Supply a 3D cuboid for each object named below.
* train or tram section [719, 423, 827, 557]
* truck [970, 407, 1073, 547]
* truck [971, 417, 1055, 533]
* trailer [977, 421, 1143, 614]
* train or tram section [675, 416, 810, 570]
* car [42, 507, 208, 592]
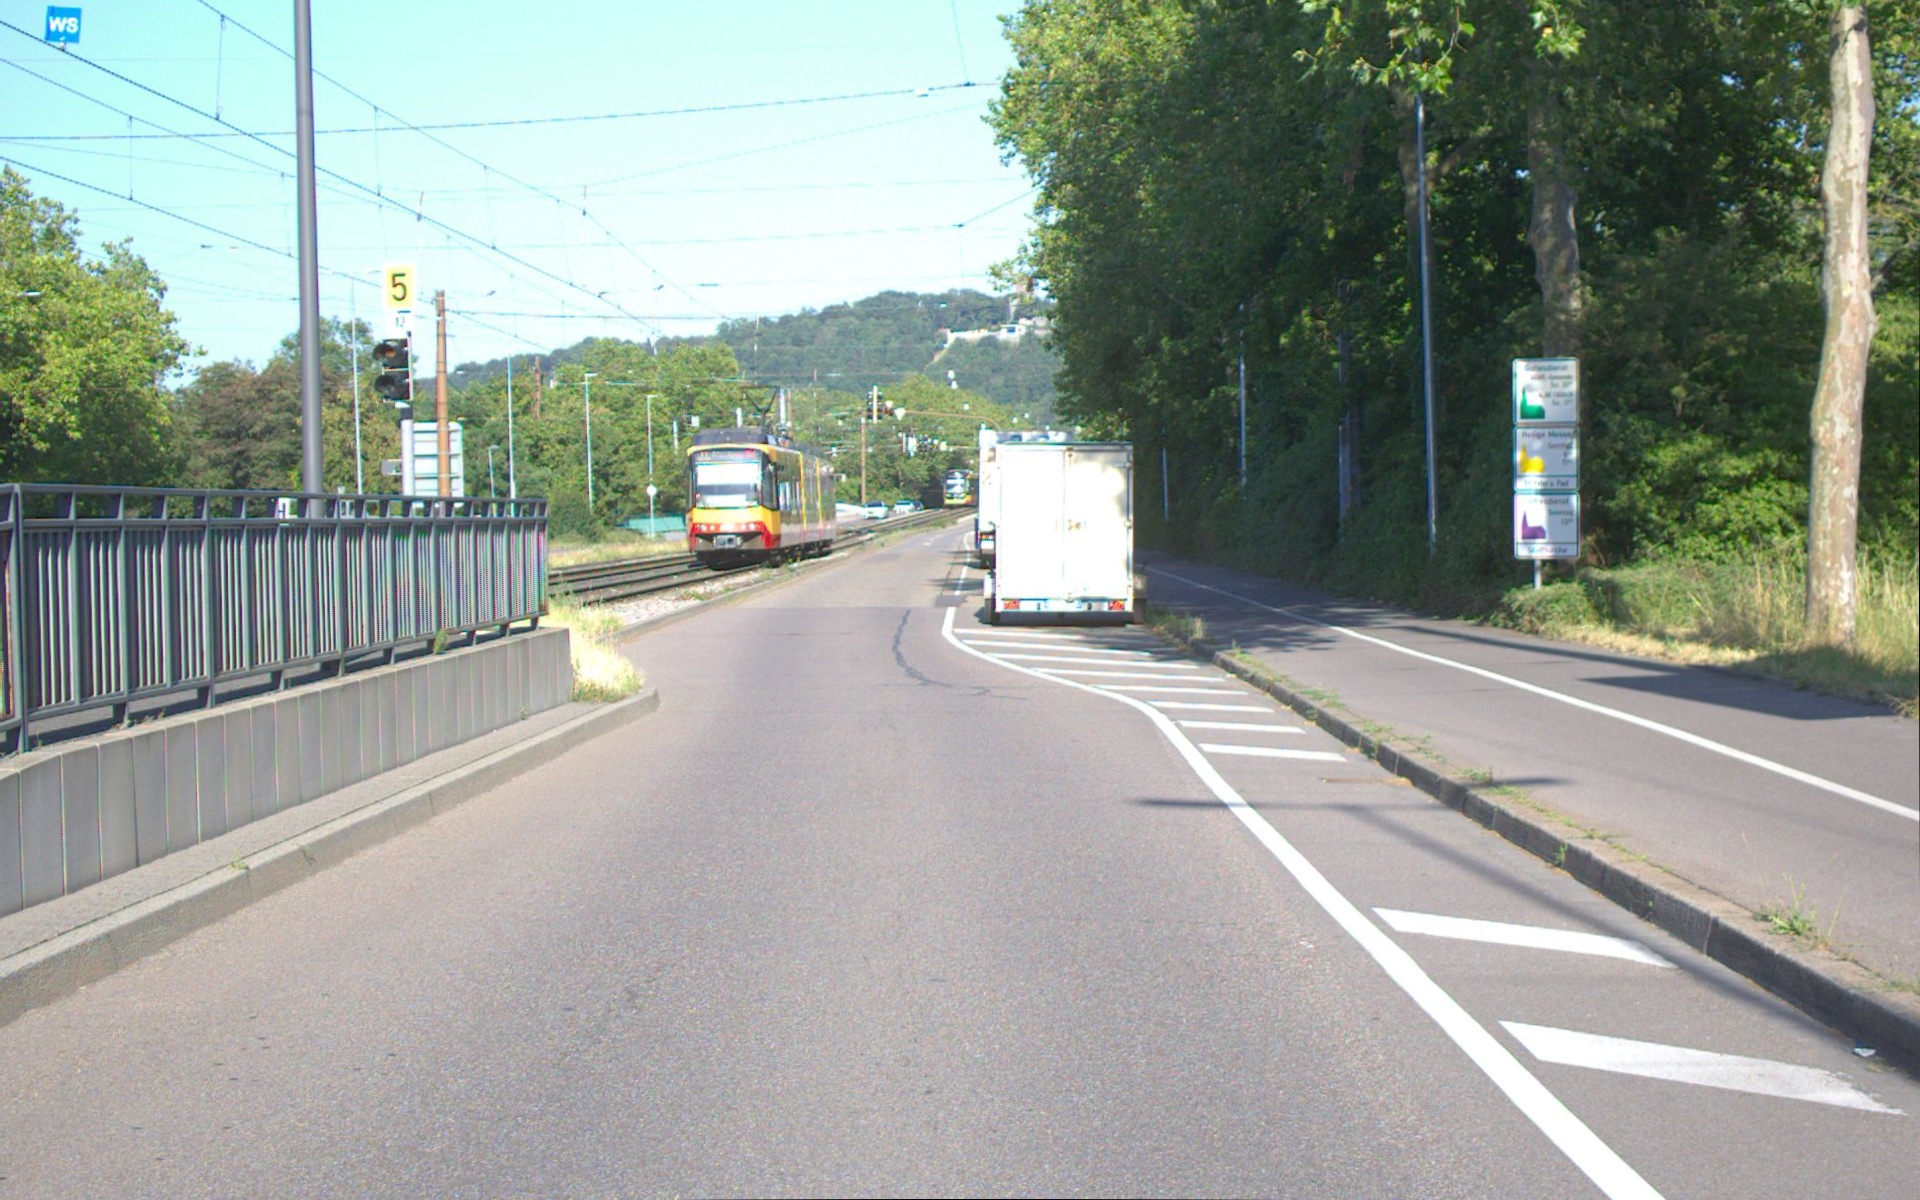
[{"bbox_3d":[-5.987,-3.565,111.489,2.694,4.074,9.911,-2,2,1],"label":"train or tram section"},{"bbox_3d":[1.698,-3.510,98.783,2.742,3.770,10.090,1,2,0],"label":"truck"},{"bbox_3d":[1.766,-4.272,118.032,2.717,3.770,9.762,1,2,0],"label":"truck"},{"bbox_3d":[1.555,-1.236,50.860,2.251,2.685,5.947,0,2,4],"label":"trailer"},{"bbox_3d":[-6.187,-3.110,99.764,2.721,4.077,13.616,-2,2,1],"label":"train or tram section"},{"bbox_3d":[-15.934,-0.994,65.804,1.993,1.556,4.544,0,2,1],"label":"car"}]
